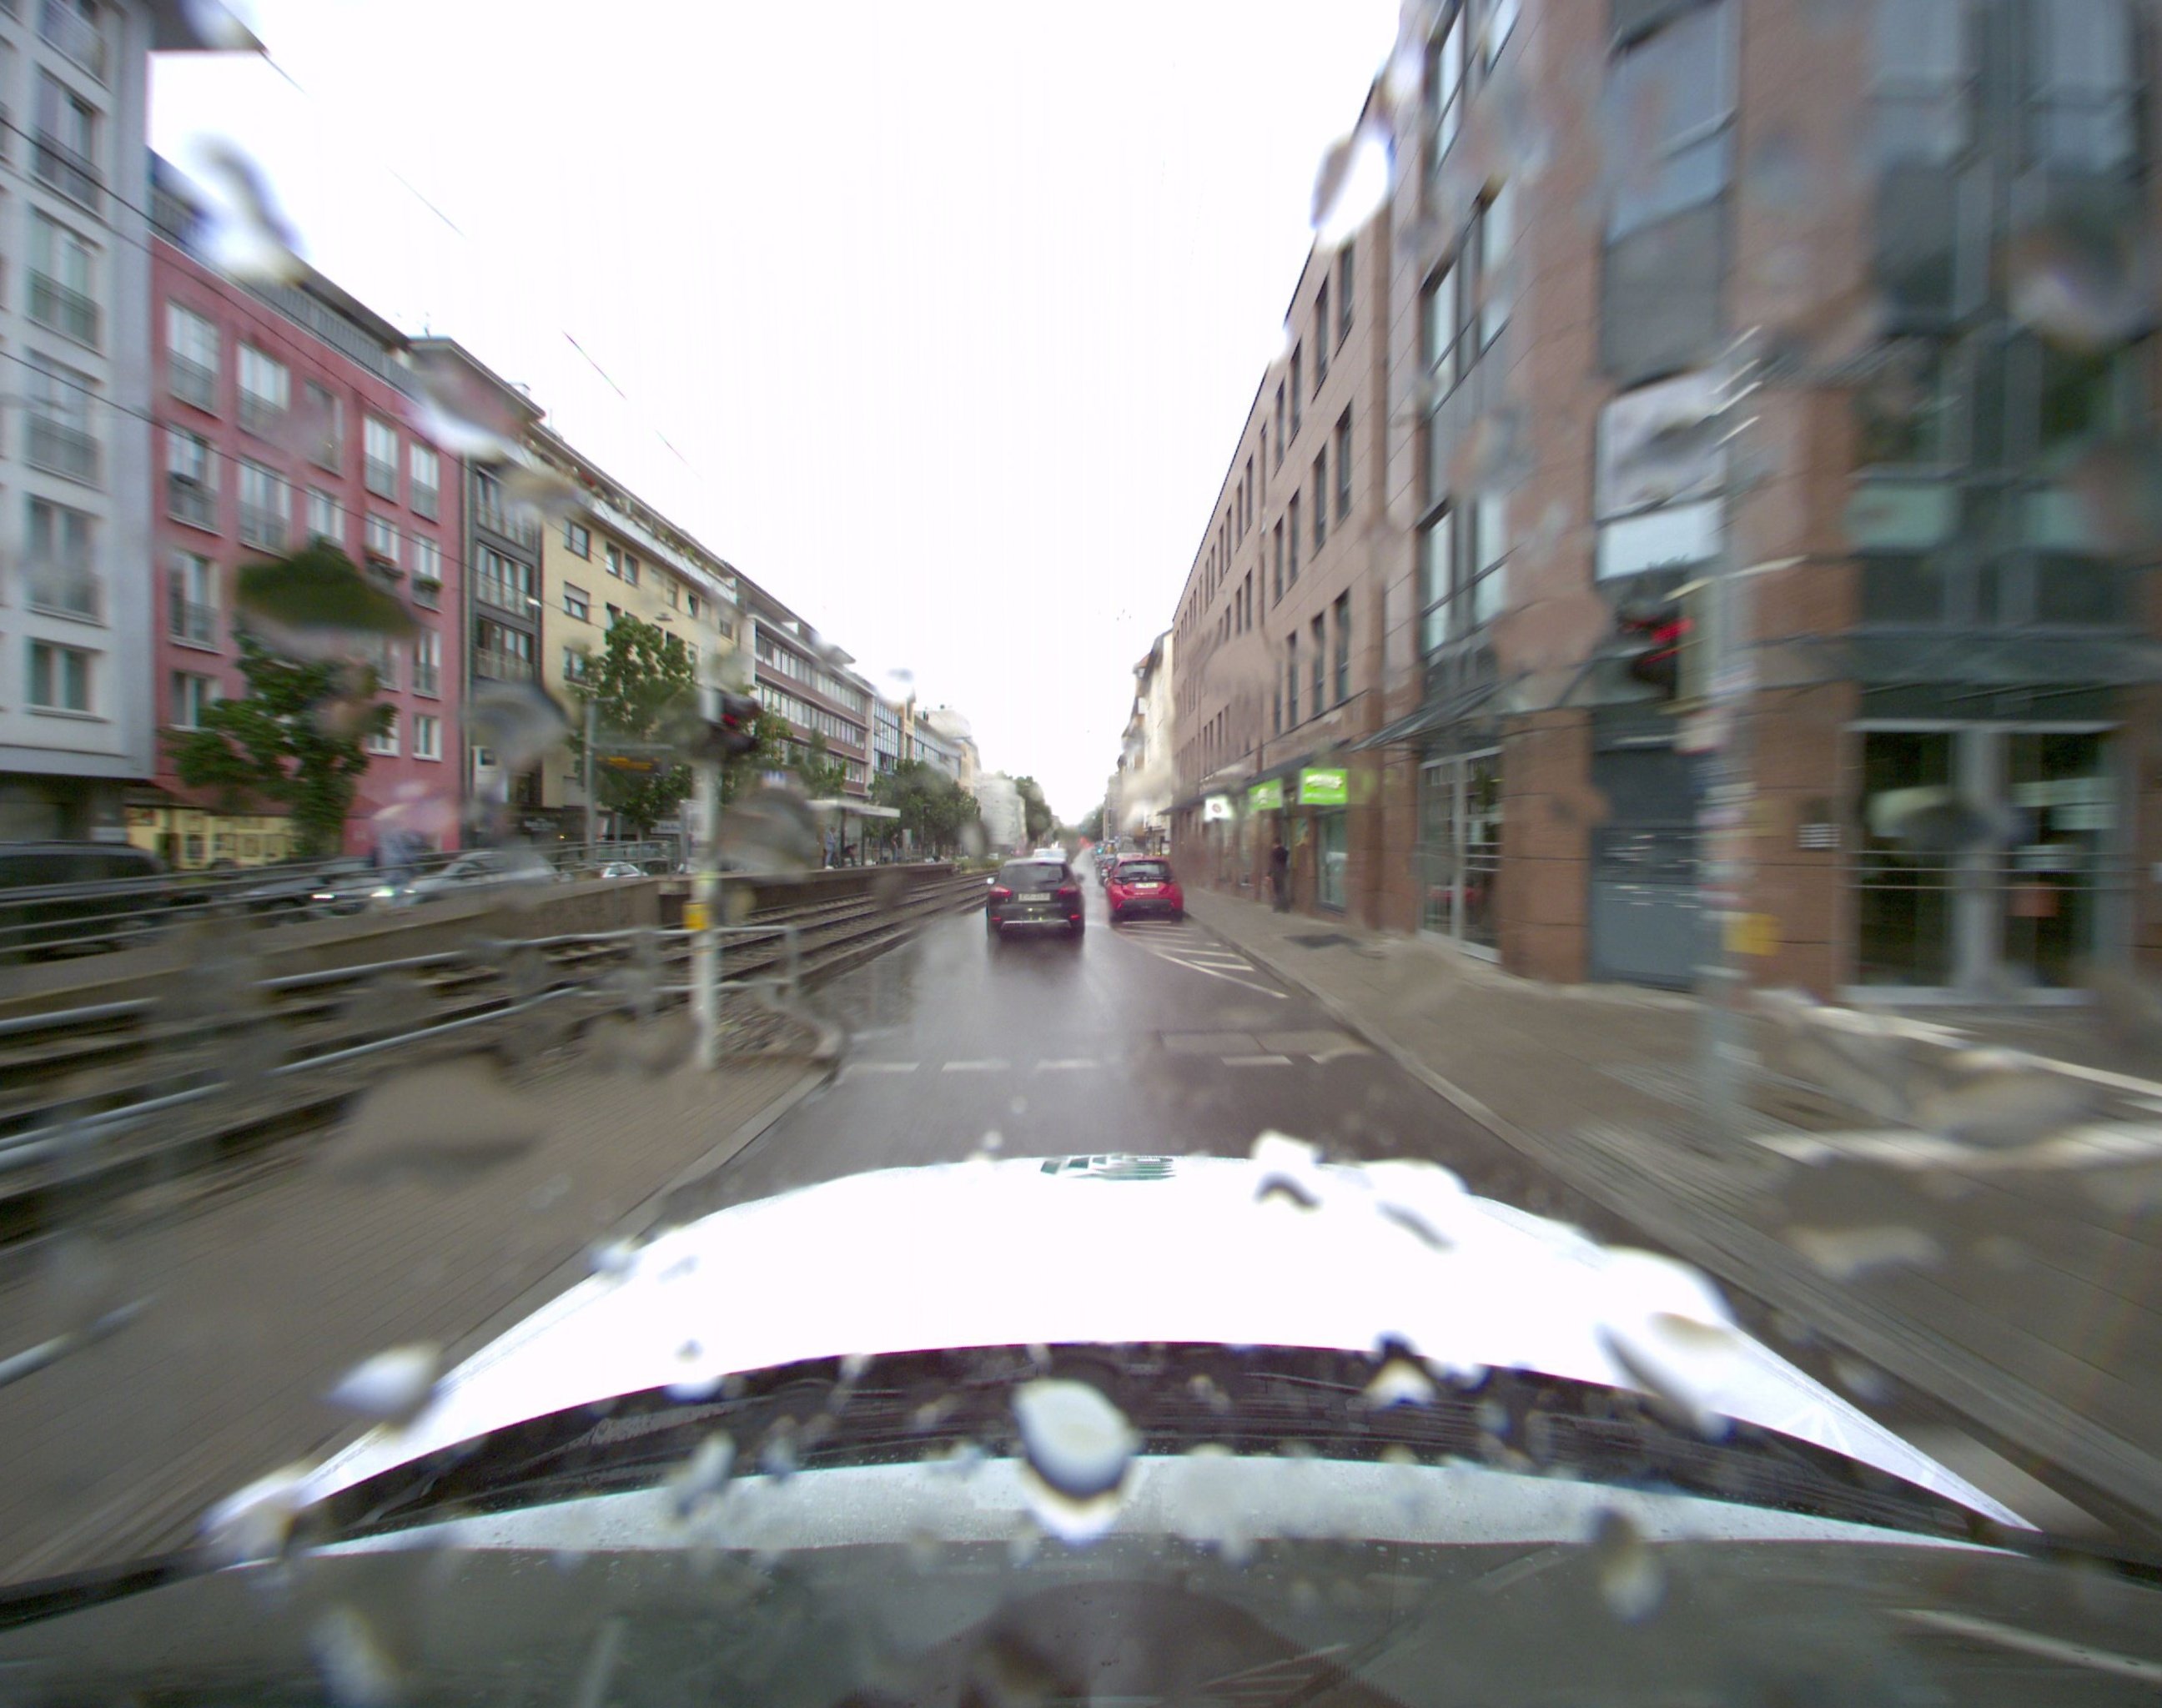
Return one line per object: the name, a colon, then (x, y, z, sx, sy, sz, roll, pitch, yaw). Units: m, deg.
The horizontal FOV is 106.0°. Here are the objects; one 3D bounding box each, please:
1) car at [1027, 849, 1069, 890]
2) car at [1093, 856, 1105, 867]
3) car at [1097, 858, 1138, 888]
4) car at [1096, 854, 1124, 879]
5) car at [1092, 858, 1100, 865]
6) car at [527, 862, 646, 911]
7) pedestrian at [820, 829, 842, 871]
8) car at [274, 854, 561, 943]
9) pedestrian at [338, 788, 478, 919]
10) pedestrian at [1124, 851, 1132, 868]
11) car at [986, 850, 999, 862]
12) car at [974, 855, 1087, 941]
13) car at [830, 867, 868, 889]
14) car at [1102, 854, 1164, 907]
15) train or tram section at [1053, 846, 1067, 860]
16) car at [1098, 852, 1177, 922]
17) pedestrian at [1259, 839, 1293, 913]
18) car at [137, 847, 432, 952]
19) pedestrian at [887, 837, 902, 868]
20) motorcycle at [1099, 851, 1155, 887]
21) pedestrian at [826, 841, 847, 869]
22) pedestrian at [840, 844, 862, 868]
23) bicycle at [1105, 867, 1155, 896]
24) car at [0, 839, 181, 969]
car: (-1.544, 0.750, 39.251, 1.901, 1.865, 4.570, 0, -1, -1)
car: (2.873, 1.160, 128.833, 1.899, 1.633, 4.575, 0, -1, 2)
car: (1.853, 0.970, 42.532, 1.769, 1.468, 4.606, -1, 0, -2)
car: (2.001, 0.871, 57.379, 1.801, 1.631, 5.169, -1, 0, 0)
car: (3.554, 1.790, 190.811, 1.899, 1.633, 4.575, 0, -1, 2)
car: (-16.005, 0.995, 26.598, 1.564, 1.436, 3.975, 0, 0, -2)
pedestrian: (-10.379, -0.164, 33.857, 0.654, 1.711, 0.849, 0, -1, -2)
car: (-13.477, 0.819, 17.081, 1.800, 1.578, 5.022, -1, 0, 1)
pedestrian: (-10.956, -0.002, 13.337, 1.112, 2.014, 1.383, -1, -1, 0)
pedestrian: (4.653, 0.561, 80.926, 0.693, 1.652, 0.965, -1, -1, 0)
car: (-14.946, 0.369, 138.353, 1.902, 1.865, 4.569, 0, -1, -2)
car: (-0.857, 0.787, 15.751, 1.900, 1.462, 3.445, 0, -1, 1)
car: (-15.817, 1.602, 55.673, 1.564, 1.436, 4.234, 0, 0, -2)
car: (1.549, 0.794, 25.375, 1.692, 1.462, 3.867, -2, -1, 1)
train or tram section: (-5.834, -0.268, 224.862, 3.504, 3.777, 11.322, -1, 0, -2)
car: (1.330, 0.767, 20.049, 1.692, 1.479, 3.869, -2, -1, 2)
pedestrian: (4.422, 0.494, 18.473, 0.599, 1.659, 0.625, -1, -1, 1)
car: (-15.926, 0.819, 16.694, 1.797, 1.858, 4.377, -1, 0, -2)
pedestrian: (-10.837, -0.092, 47.290, 0.654, 1.802, 0.849, 0, -1, -2)
motorcycle: (1.840, 0.592, 32.689, 2.067, 1.407, 0.802, -1, -1, 18)
pedestrian: (-10.842, 0.048, 36.143, 0.691, 1.249, 0.884, 0, -1, -2)
pedestrian: (-10.863, 0.099, 38.469, 0.892, 1.123, 0.847, 0, -1, -10)
bicycle: (1.777, 0.996, 29.651, 1.781, 1.031, 0.462, -1, -1, -1)
car: (-16.315, 0.727, 11.843, 1.703, 1.858, 4.317, -1, 0, -2)
